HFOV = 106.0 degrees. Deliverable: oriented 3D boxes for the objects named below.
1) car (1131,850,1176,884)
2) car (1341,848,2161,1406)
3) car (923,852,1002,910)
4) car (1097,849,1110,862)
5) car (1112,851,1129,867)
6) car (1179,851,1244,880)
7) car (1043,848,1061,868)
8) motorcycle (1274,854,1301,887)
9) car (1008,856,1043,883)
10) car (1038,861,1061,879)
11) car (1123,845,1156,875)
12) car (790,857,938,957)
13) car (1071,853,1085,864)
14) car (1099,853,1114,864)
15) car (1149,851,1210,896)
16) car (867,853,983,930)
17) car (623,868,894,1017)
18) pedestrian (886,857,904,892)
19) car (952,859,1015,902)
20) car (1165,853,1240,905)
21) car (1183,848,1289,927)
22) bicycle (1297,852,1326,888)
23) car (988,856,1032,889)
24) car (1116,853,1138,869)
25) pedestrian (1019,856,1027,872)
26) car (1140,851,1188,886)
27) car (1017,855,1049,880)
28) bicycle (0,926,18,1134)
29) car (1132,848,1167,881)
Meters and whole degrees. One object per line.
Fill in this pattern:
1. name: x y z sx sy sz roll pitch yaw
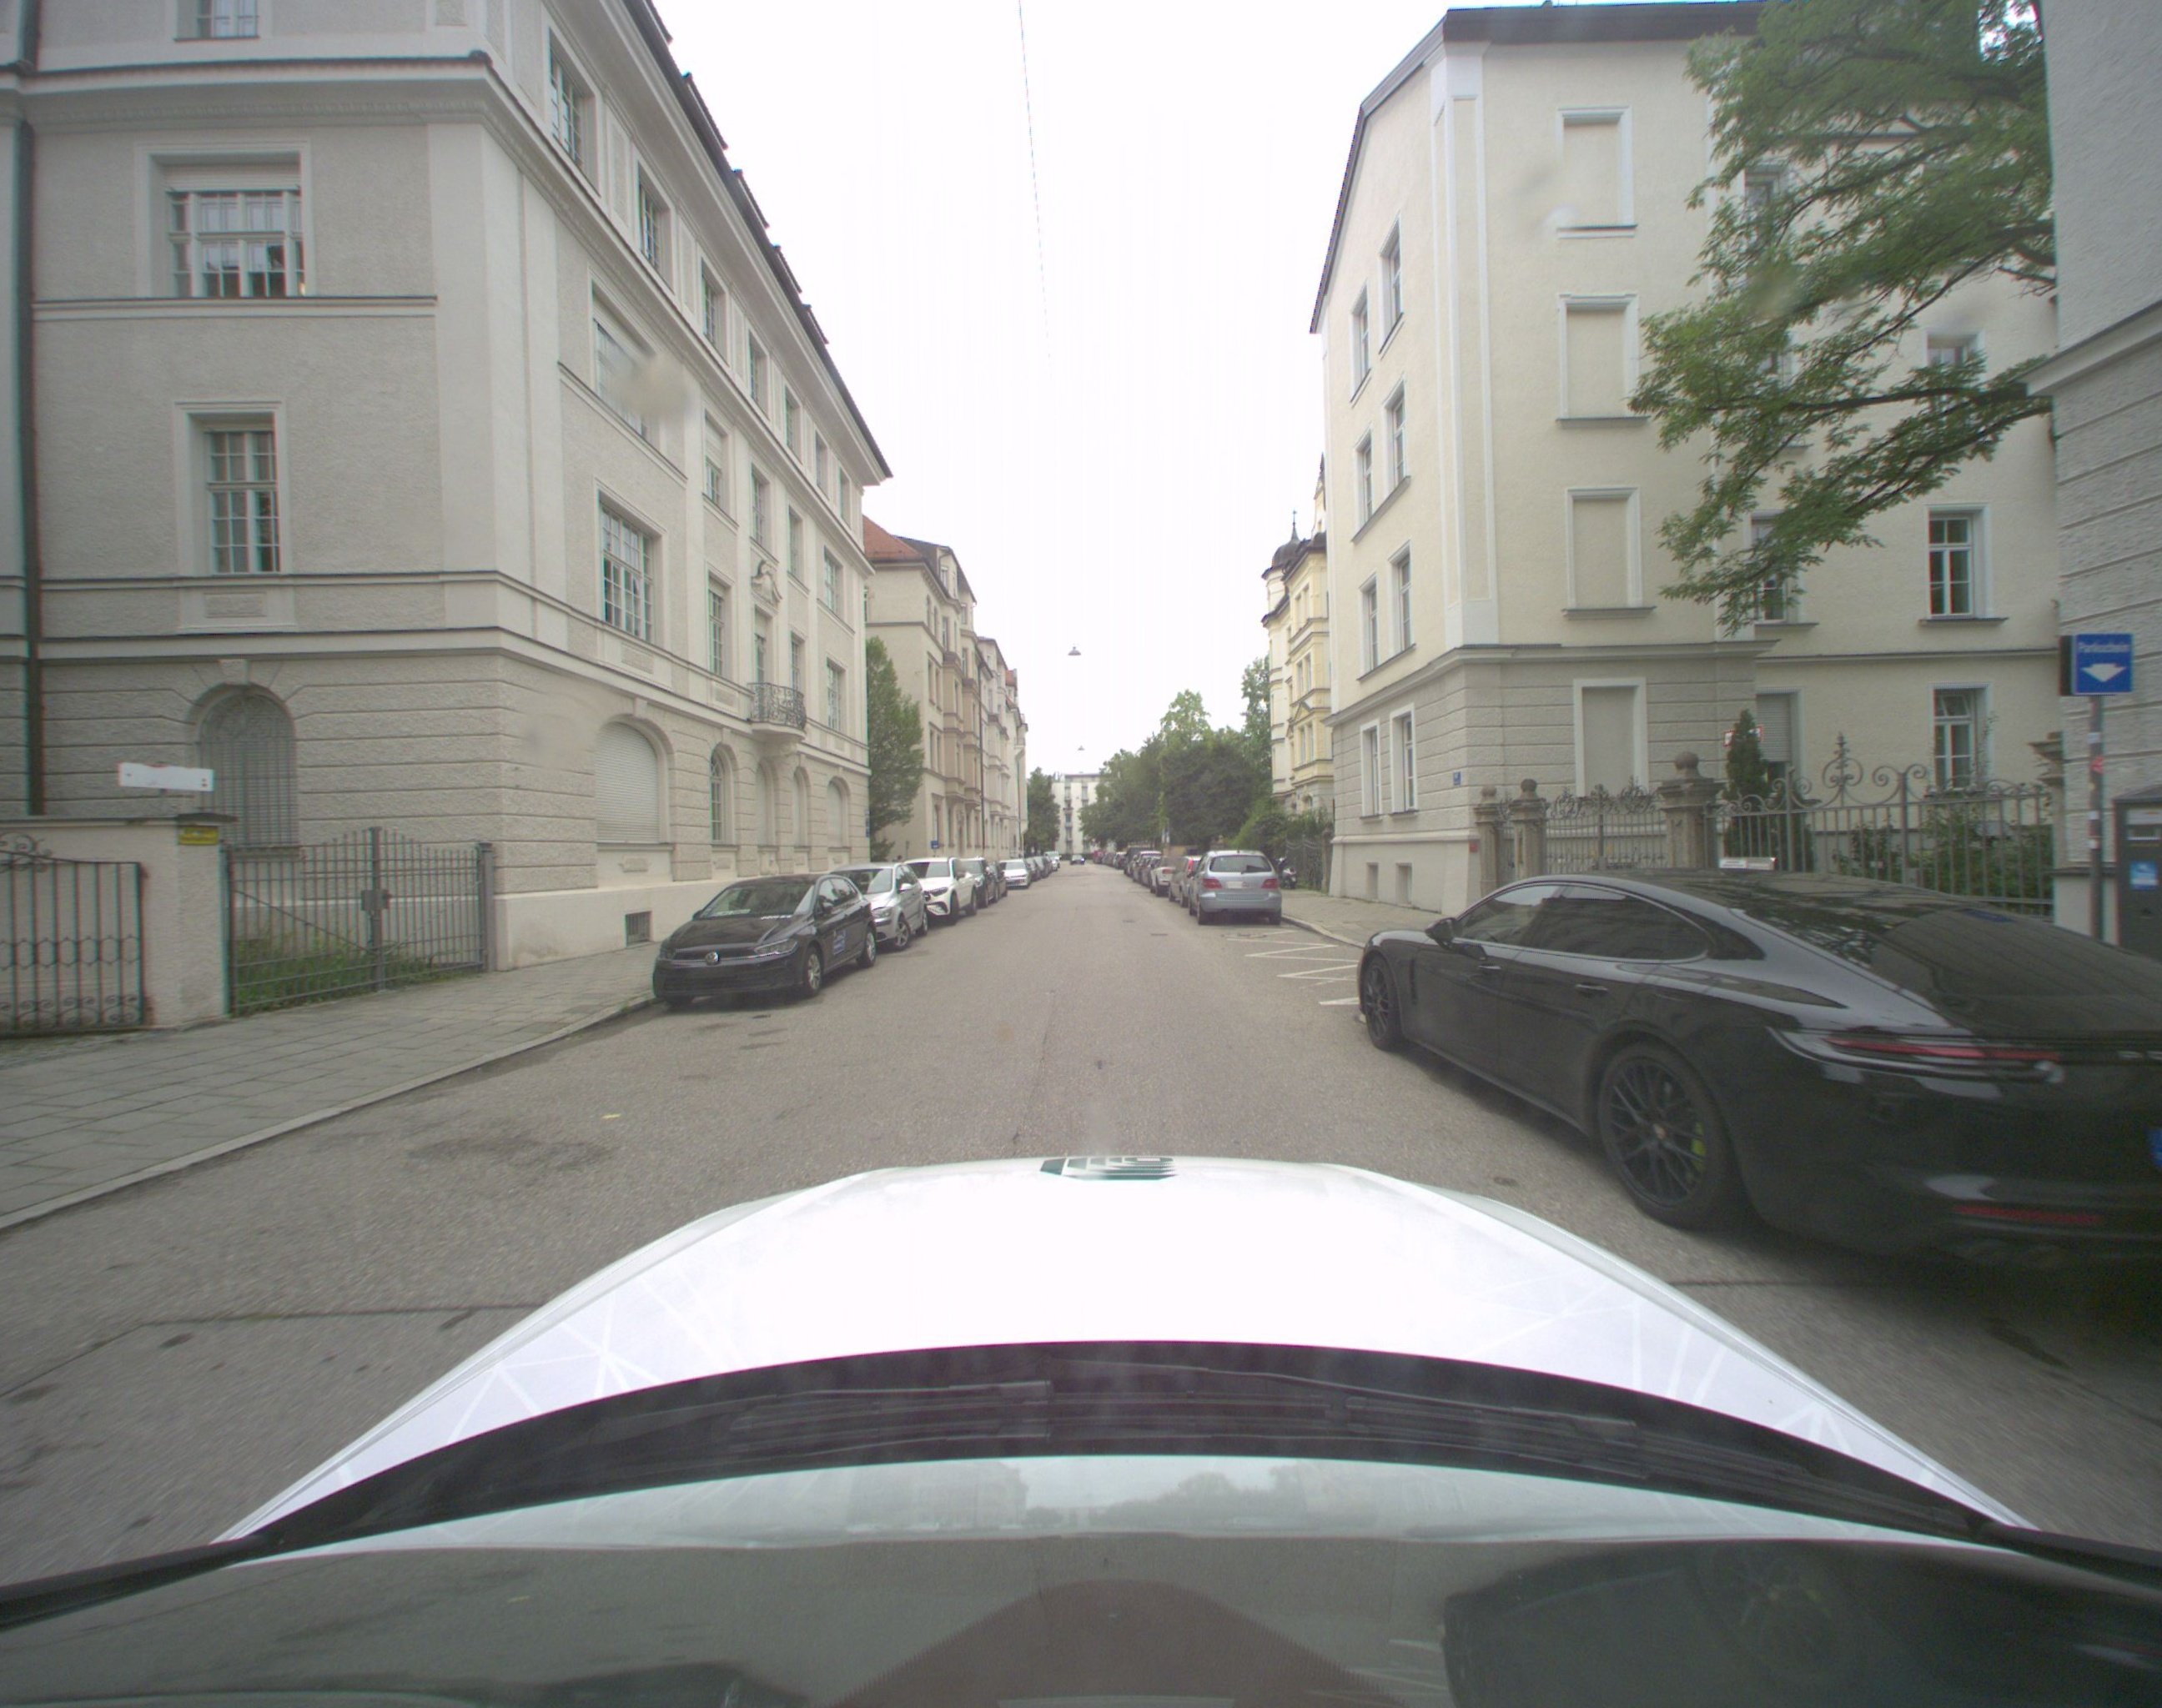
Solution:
1. car: 3.669 0.625 42.020 1.746 1.610 4.419 0 1 -3
2. car: 3.277 0.737 4.612 1.988 1.457 4.710 -2 0 -1
3. car: -3.709 0.798 26.191 1.830 1.618 4.244 -2 0 0
4. car: 3.525 0.178 125.324 1.829 1.927 4.007 1 1 3
5. car: 4.114 0.526 84.712 1.509 1.661 3.671 0 0 -2
6. car: 9.872 0.873 61.734 4.523 1.950 1.900 -2 2 -6
7. car: -3.406 0.453 95.649 1.881 2.127 4.704 -4 0 -1
8. motorcycle: 7.414 0.568 29.299 0.604 1.112 1.966 -2 0 4
9. car: -3.438 0.923 50.909 1.828 1.434 4.552 -3 0 -1
10. car: -2.921 1.482 77.147 1.830 1.438 4.276 -4 0 1
11. car: 4.022 0.384 56.696 1.944 1.954 4.666 0 1 0
12. car: -3.960 0.881 15.603 1.778 1.541 4.253 -4 0 -3
13. car: -0.442 0.583 115.809 1.869 1.428 4.406 -2 0 -2
14. car: 3.533 0.598 113.416 1.834 1.519 3.943 0 0 -3
15. car: 3.505 0.665 29.695 1.778 1.504 4.065 -1 0 1
16. car: -3.781 0.841 20.561 1.908 1.618 4.573 -2 0 1
17. car: -3.965 0.987 10.907 1.786 1.415 4.279 -4 0 1
18. pedestrian: -8.780 0.959 38.554 0.671 1.626 0.630 -2 0 -2
19. car: -3.571 0.937 30.557 1.781 1.412 4.367 -2 0 0
20. car: 3.542 0.699 24.274 1.748 1.406 3.452 -1 0 1
21. car: 3.448 0.663 18.870 1.815 1.569 4.404 1 1 3
22. bicycle: 7.652 0.515 27.107 0.432 1.125 1.882 -2 0 1
23. car: -3.557 0.911 41.368 1.831 1.434 4.243 -3 0 -1
24. car: 4.193 0.657 74.682 1.832 1.413 4.342 0 0 1
25. pedestrian: -6.426 1.093 90.471 0.791 1.679 0.698 -2 0 -8
26. car: 3.761 0.630 37.317 1.679 1.504 4.015 -1 0 -2
27. car: -3.295 0.907 56.529 1.830 1.435 4.246 -4 0 1
28. bicycle: -7.104 1.046 3.601 1.147 1.242 2.717 2 0 2
29. car: 3.906 0.592 47.017 1.716 1.769 4.414 1 0 1
